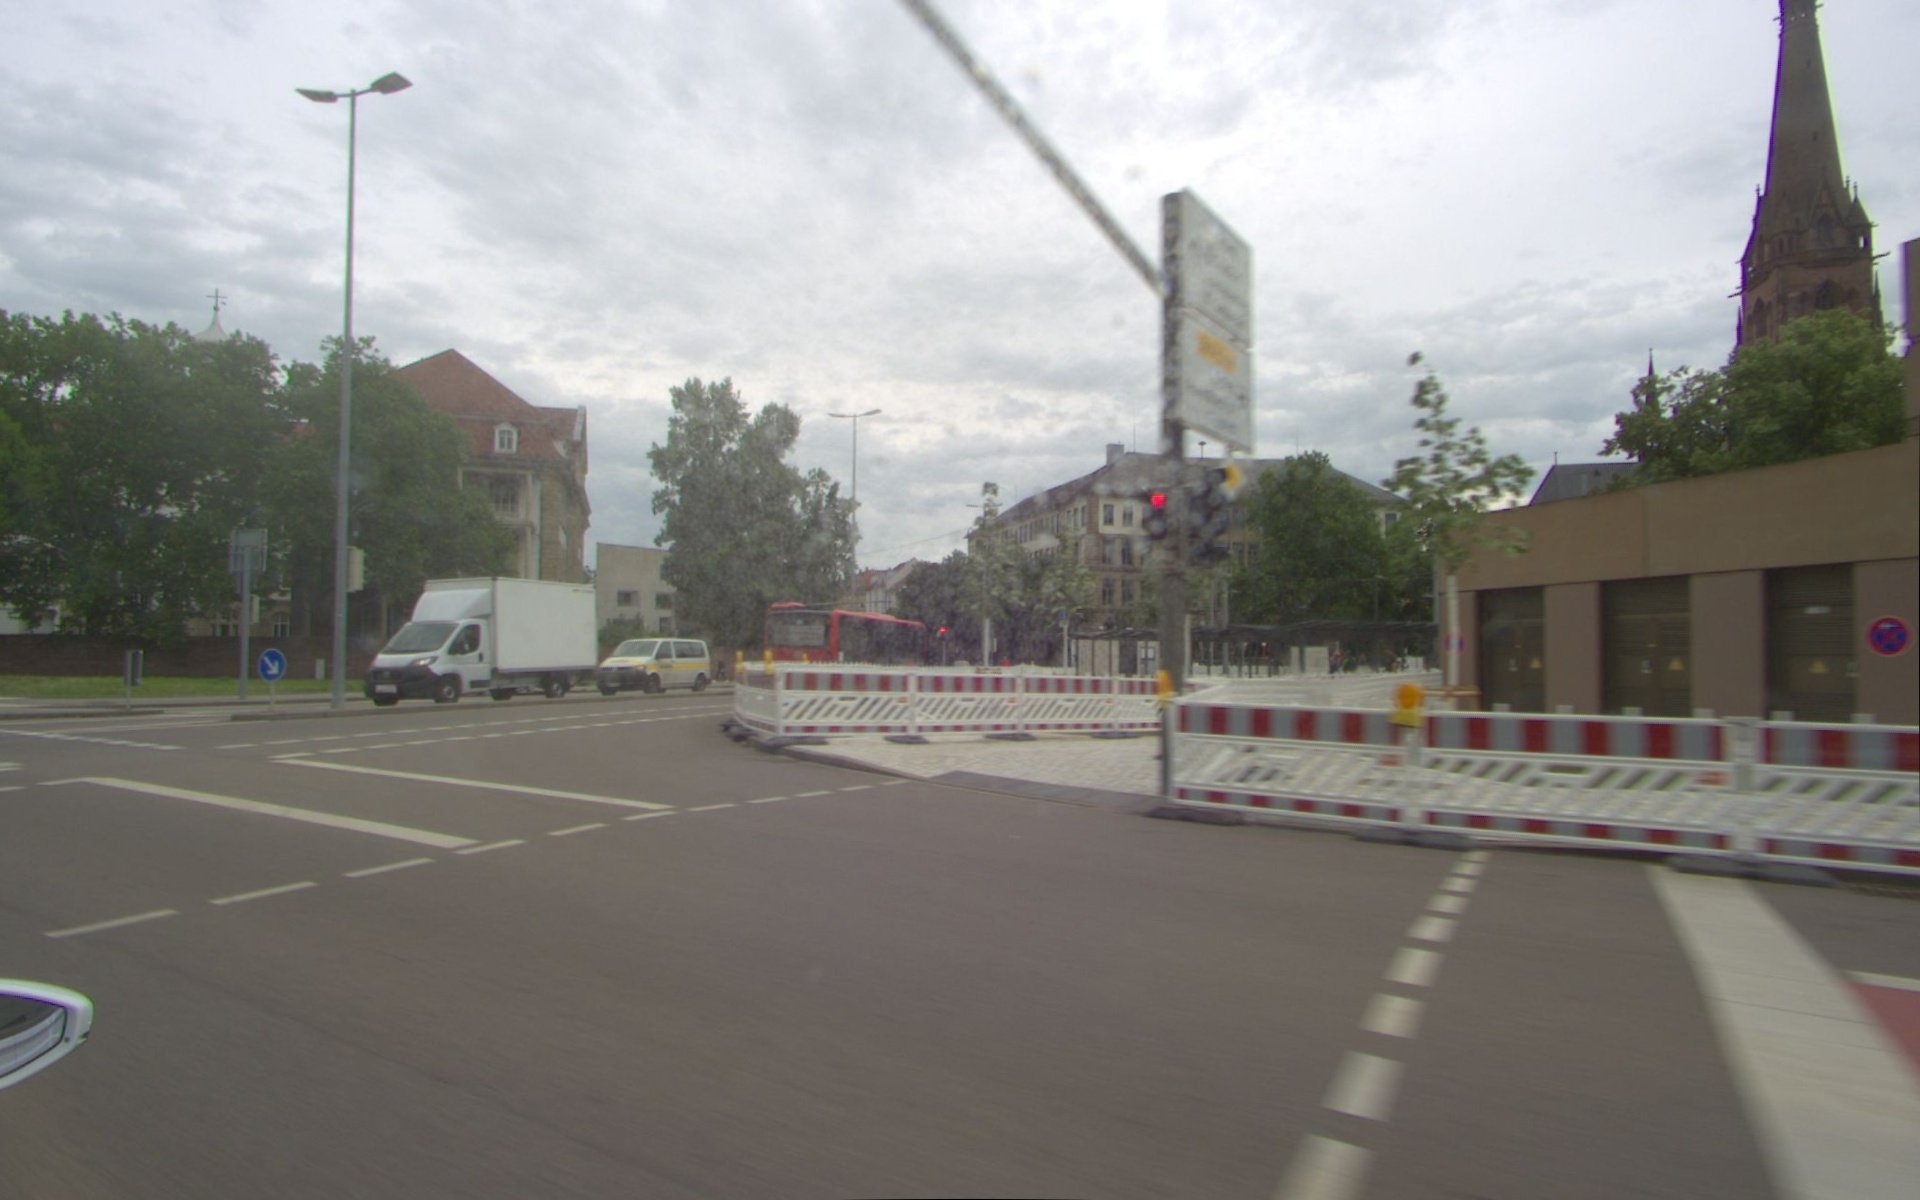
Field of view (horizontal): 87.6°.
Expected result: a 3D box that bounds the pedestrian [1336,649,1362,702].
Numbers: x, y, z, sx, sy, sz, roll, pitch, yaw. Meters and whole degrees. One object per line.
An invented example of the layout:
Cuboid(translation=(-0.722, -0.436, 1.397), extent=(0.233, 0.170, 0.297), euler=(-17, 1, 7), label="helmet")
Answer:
Cuboid(translation=(12.677, 2.444, 32.632), extent=(0.597, 1.709, 0.595), euler=(3, -2, -44), label="pedestrian")

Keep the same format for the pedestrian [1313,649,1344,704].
Cuboid(translation=(12.208, 2.529, 33.179), extent=(0.691, 1.783, 0.758), euler=(3, -2, -43), label="pedestrian")

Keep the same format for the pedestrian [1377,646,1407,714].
Cuboid(translation=(12.143, 2.238, 28.152), extent=(0.449, 1.855, 0.645), euler=(1, -2, -18), label="pedestrian")

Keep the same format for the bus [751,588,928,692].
Cuboid(translation=(-4.150, 1.654, 38.747), extent=(3.010, 3.338, 12.382), euler=(0, -3, 12), label="bus")

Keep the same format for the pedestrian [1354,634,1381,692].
Cuboid(translation=(12.998, 2.011, 31.923), extent=(0.635, 1.827, 0.591), euler=(3, -2, -44), label="pedestrian")

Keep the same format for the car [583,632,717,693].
Cuboid(translation=(-10.551, 2.133, 34.504), extent=(1.964, 1.887, 5.002), euler=(-3, -4, 16), label="car")

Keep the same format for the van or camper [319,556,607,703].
Cuboid(translation=(-12.826, 0.876, 26.755), extent=(2.824, 3.373, 7.148), euler=(-1, -3, 16), label="van or camper")
